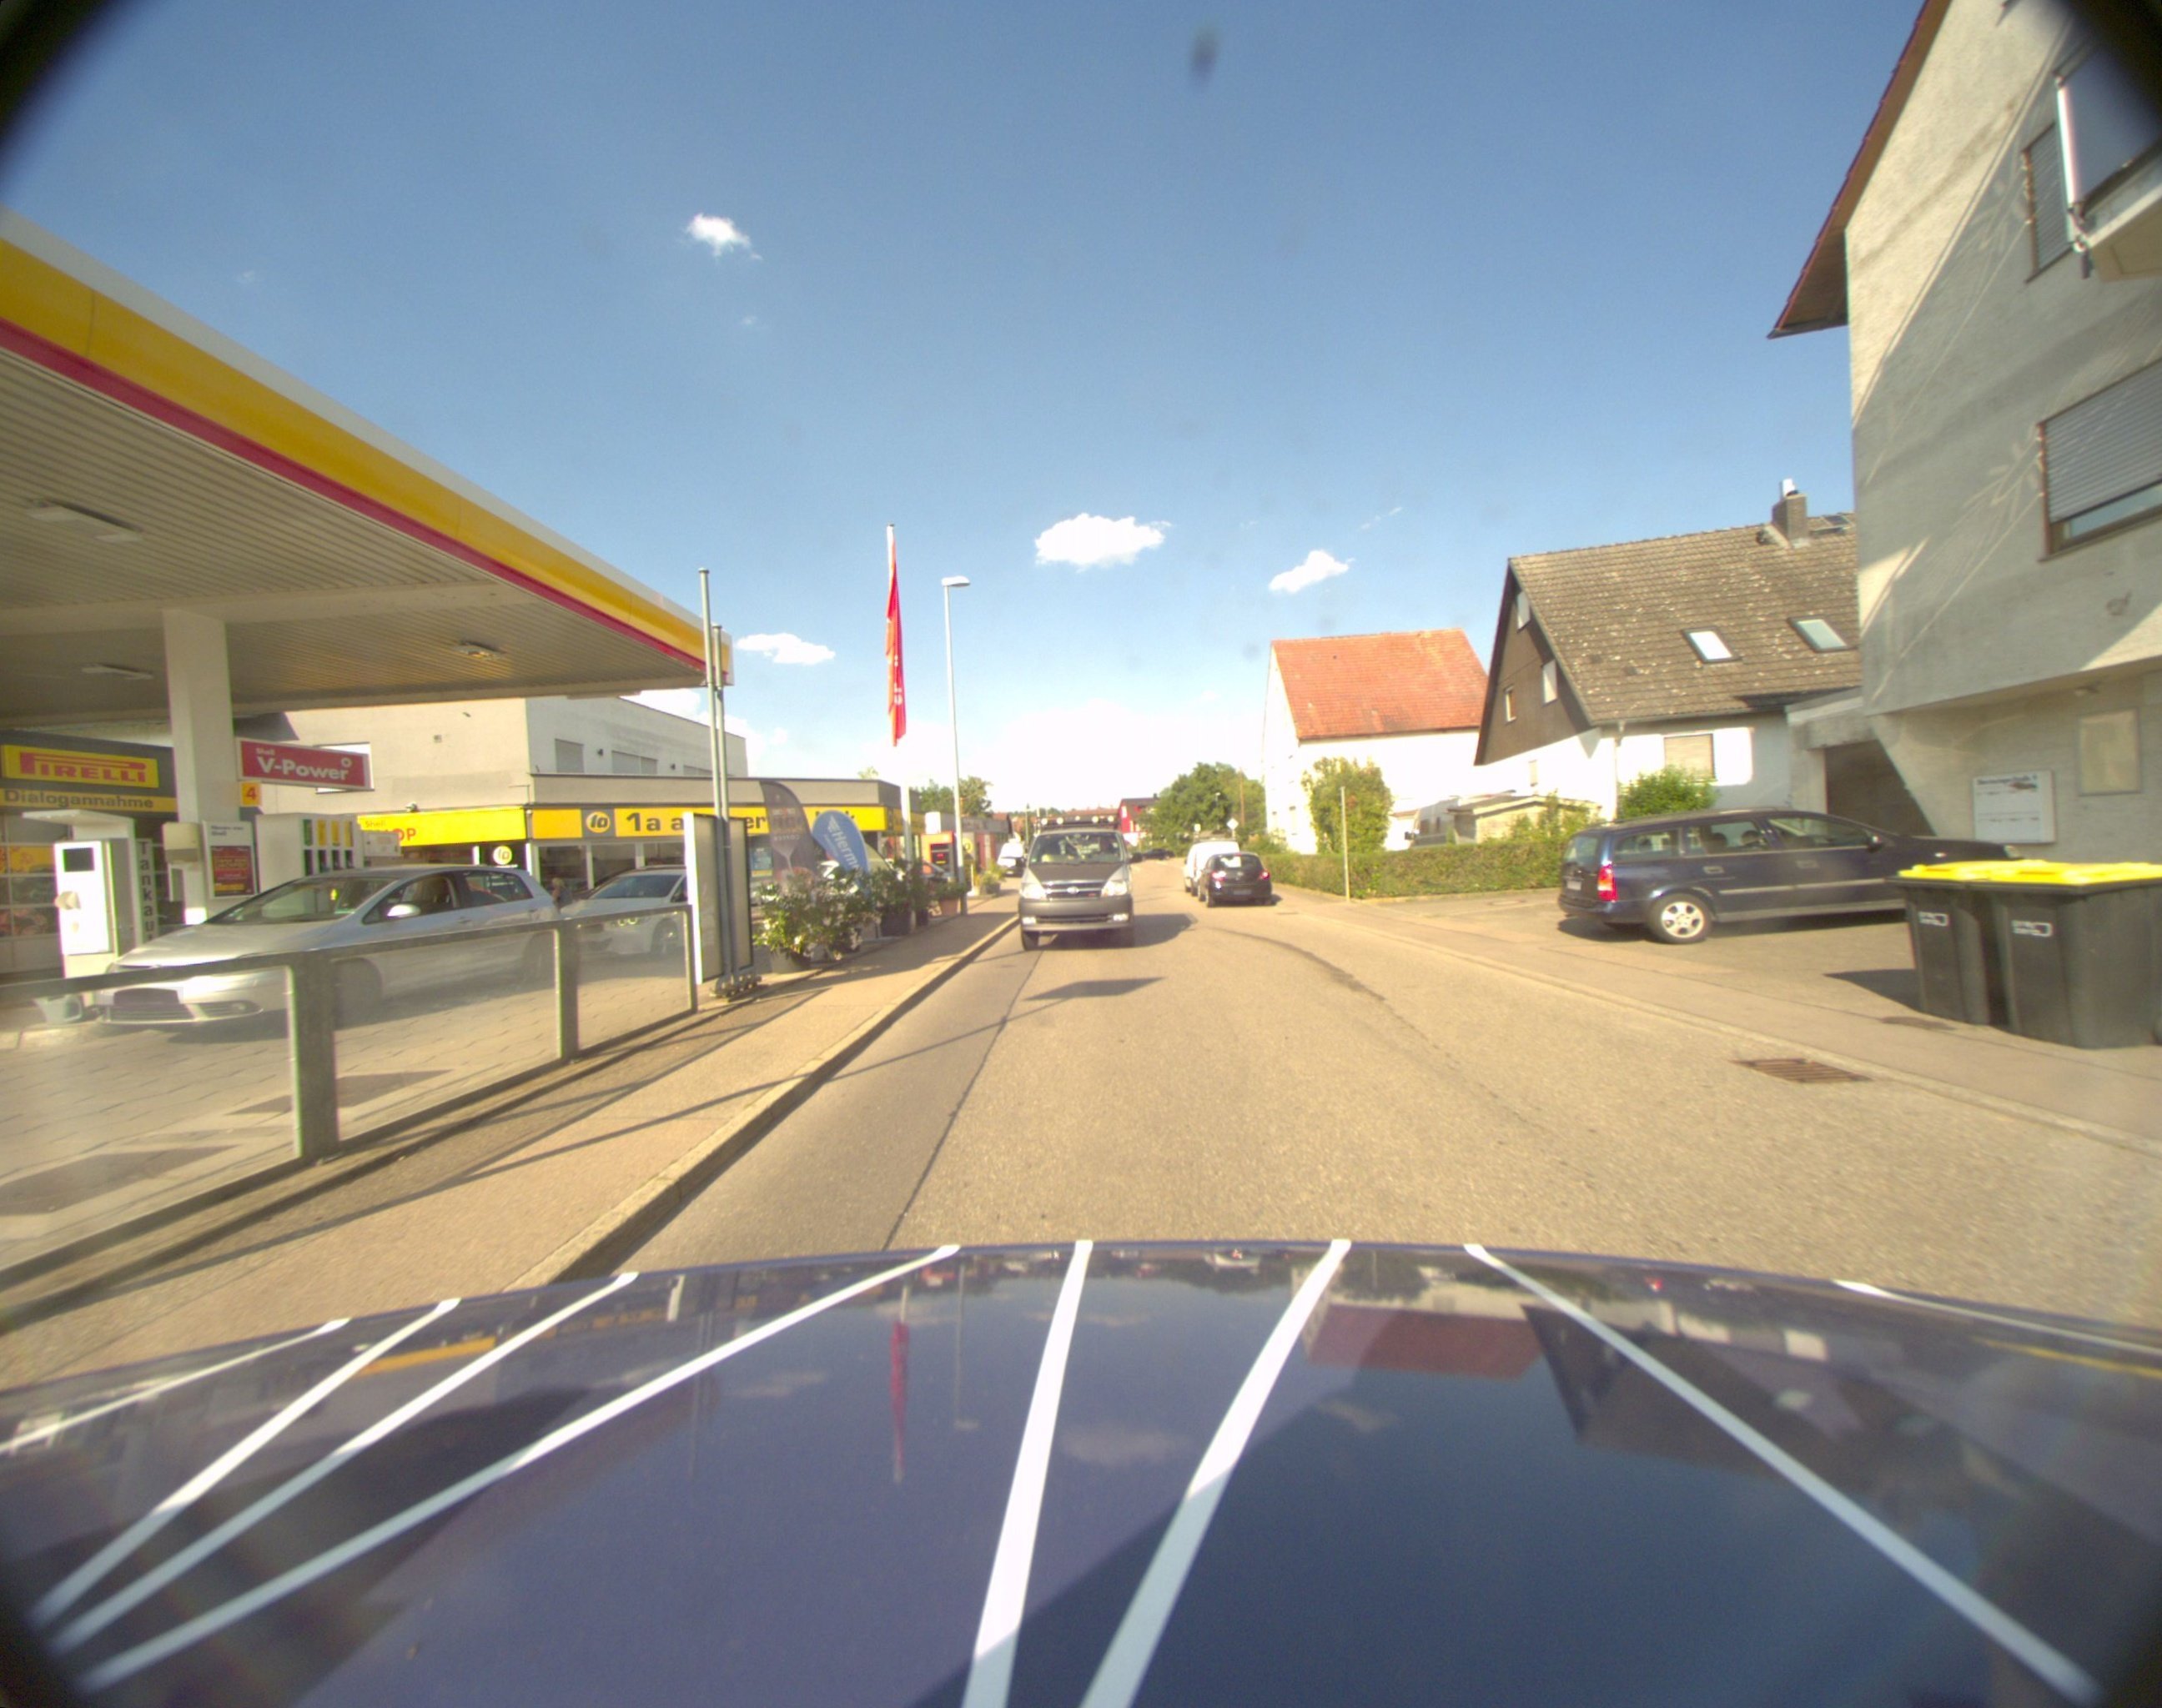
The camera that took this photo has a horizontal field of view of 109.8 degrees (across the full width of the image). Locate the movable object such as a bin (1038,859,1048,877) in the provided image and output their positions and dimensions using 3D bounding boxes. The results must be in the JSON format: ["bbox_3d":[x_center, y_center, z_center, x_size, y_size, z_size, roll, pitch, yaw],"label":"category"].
[{"bbox_3d":[-2.411,0.886,48.128,0.568,1.069,0.572,-2,1,-2],"label":"movable object such as a bin"}]

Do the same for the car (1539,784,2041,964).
[{"bbox_3d":[8.177,0.263,9.230,3.994,1.529,1.764,-7,0,14],"label":"car"}]

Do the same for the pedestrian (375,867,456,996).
[{"bbox_3d":[-8.928,1.020,10.211,0.501,1.660,0.534,-3,1,2],"label":"pedestrian"}]

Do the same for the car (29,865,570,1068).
[{"bbox_3d":[-7.879,0.975,8.349,1.676,1.568,3.999,-2,0,2],"label":"car"}]

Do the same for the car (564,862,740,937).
[{"bbox_3d":[-11.159,1.104,19.875,3.693,1.624,1.672,-3,2,-40],"label":"car"}]

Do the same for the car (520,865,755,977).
[{"bbox_3d":[-7.597,1.057,13.543,1.676,1.568,3.999,-2,0,2],"label":"car"}]

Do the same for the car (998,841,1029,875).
[{"bbox_3d":[-4.981,0.246,56.336,1.841,2.361,5.177,-3,1,-1],"label":"car"}]

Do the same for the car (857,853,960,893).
[{"bbox_3d":[-7.439,0.797,32.979,3.996,1.522,1.528,-3,1,3],"label":"car"}]

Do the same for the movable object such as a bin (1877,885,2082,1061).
[{"bbox_3d":[6.158,0.789,5.240,0.601,1.065,0.619,-6,1,2],"label":"movable object such as a bin"}]

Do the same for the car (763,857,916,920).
[{"bbox_3d":[-7.283,0.974,23.150,4.085,1.665,1.672,-2,1,-40],"label":"car"}]

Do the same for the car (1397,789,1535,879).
[{"bbox_3d":[12.965,-0.636,26.141,2.163,2.581,6.096,-4,0,7],"label":"car"}]

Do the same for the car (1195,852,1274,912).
[{"bbox_3d":[4.250,0.718,21.519,1.676,1.443,3.835,-2,1,4],"label":"car"}]

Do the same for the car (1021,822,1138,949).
[{"bbox_3d":[0.017,0.475,14.629,1.820,1.989,4.820,-2,1,1],"label":"car"}]

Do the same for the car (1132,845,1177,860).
[{"bbox_3d":[8.635,-0.198,89.354,4.848,1.423,1.768,-3,2,-19],"label":"car"}]

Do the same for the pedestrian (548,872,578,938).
[{"bbox_3d":[-11.988,1.175,17.584,0.431,1.471,0.623,-4,1,-41],"label":"pedestrian"}]

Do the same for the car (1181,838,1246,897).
[{"bbox_3d":[4.592,0.426,26.891,1.720,1.862,4.192,-2,1,3],"label":"car"}]

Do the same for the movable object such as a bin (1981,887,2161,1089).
[{"bbox_3d":[6.084,0.773,4.579,0.571,1.065,0.557,-6,1,2],"label":"movable object such as a bin"}]

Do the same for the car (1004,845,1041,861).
[{"bbox_3d":[-6.611,-0.113,85.686,3.948,1.594,1.682,-3,2,3],"label":"car"}]

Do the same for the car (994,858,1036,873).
[{"bbox_3d":[-6.883,1.163,79.074,4.073,1.409,1.626,-1,2,5],"label":"car"}]
